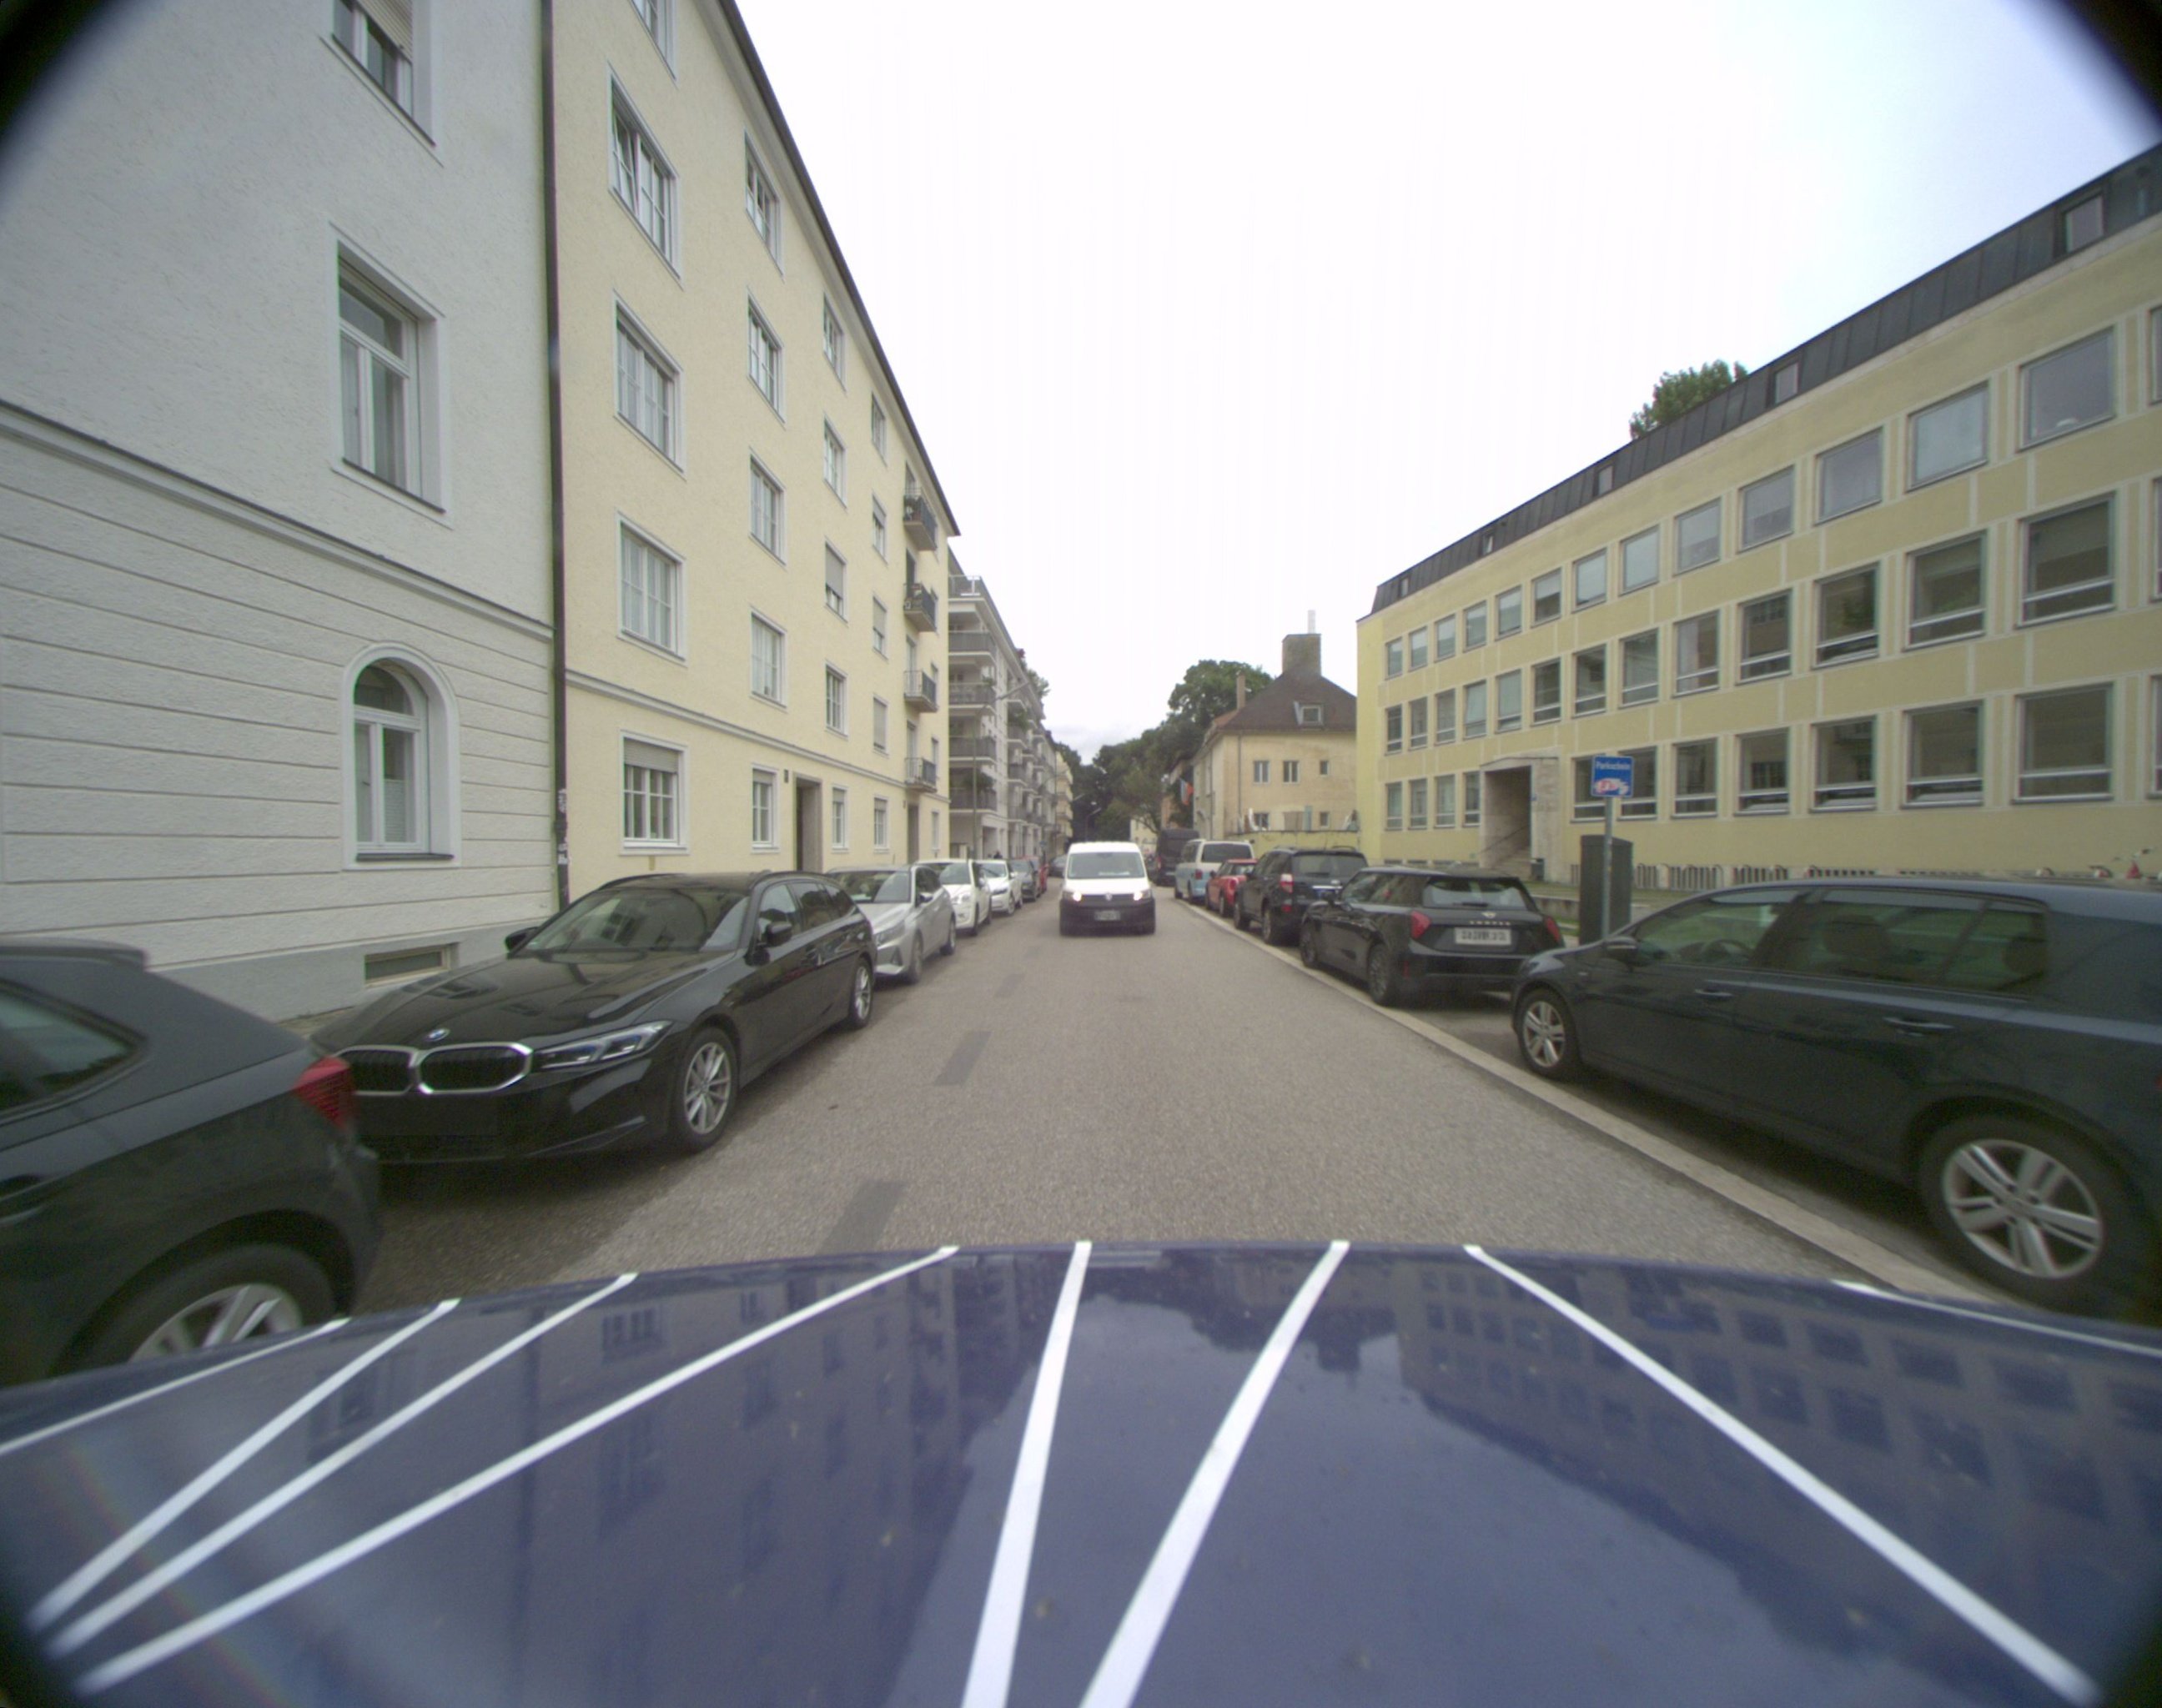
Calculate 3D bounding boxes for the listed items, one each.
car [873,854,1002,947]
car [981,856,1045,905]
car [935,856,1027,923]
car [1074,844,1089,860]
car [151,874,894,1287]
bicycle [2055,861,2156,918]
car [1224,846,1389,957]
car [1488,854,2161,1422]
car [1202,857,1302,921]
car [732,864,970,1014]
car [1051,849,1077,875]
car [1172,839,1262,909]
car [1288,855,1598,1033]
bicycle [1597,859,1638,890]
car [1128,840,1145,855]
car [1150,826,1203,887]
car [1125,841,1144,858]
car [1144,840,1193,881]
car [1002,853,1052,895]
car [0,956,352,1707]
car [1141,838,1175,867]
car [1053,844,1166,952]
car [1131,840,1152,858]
[{"bbox_3d":[-2.831,0.854,15.967,1.841,1.538,4.267,-2,1,0],"label":"car"},{"bbox_3d":[-2.223,0.831,25.840,1.742,1.367,4.021,-2,1,0],"label":"car"},{"bbox_3d":[-2.559,0.863,20.367,1.841,1.450,4.021,-2,1,0],"label":"car"},{"bbox_3d":[0.062,-0.285,89.347,1.639,1.726,3.879,-2,1,1],"label":"car"},{"bbox_3d":[-2.801,0.978,5.333,1.802,1.406,4.528,-2,1,0],"label":"car"},{"bbox_3d":[19.303,0.657,14.323,1.739,0.984,0.389,-2,2,-10],"label":"bicycle"},{"bbox_3d":[3.880,0.715,13.840,1.744,1.679,4.121,1,1,0],"label":"car"},{"bbox_3d":[3.994,0.842,3.712,1.745,1.537,4.081,-2,1,-1],"label":"car"},{"bbox_3d":[4.234,0.813,19.371,1.744,1.396,3.455,1,1,0],"label":"car"},{"bbox_3d":[-2.860,0.963,10.654,1.841,1.426,4.653,-2,1,0],"label":"car"},{"bbox_3d":[-1.180,0.542,54.118,1.639,1.726,3.879,-2,1,1],"label":"car"},{"bbox_3d":[4.132,0.522,23.838,1.949,1.965,4.354,1,1,-1],"label":"car"},{"bbox_3d":[3.761,0.816,8.673,1.744,1.459,3.685,-2,1,0],"label":"car"},{"bbox_3d":[16.817,0.639,23.820,1.244,0.897,0.288,-3,2,-14],"label":"bicycle"},{"bbox_3d":[7.891,-0.971,108.536,2.215,2.070,4.959,-2,1,1],"label":"car"},{"bbox_3d":[4.552,0.066,36.987,1.998,2.702,4.959,-2,1,1],"label":"car"},{"bbox_3d":[7.022,-0.578,100.068,2.215,2.070,4.959,-2,1,1],"label":"car"},{"bbox_3d":[4.890,0.308,43.134,2.215,2.070,4.959,-2,1,1],"label":"car"},{"bbox_3d":[-2.181,0.764,31.654,1.742,1.507,4.021,-2,1,0],"label":"car"},{"bbox_3d":[-2.991,1.071,0.119,1.707,1.434,4.055,-2,1,1],"label":"car"},{"bbox_3d":[6.004,-0.146,59.873,2.215,2.070,4.959,-2,1,1],"label":"car"},{"bbox_3d":[0.513,0.706,15.153,1.884,1.762,4.924,0,1,1],"label":"car"},{"bbox_3d":[7.284,-0.604,92.003,2.215,2.070,4.959,-2,1,1],"label":"car"}]
